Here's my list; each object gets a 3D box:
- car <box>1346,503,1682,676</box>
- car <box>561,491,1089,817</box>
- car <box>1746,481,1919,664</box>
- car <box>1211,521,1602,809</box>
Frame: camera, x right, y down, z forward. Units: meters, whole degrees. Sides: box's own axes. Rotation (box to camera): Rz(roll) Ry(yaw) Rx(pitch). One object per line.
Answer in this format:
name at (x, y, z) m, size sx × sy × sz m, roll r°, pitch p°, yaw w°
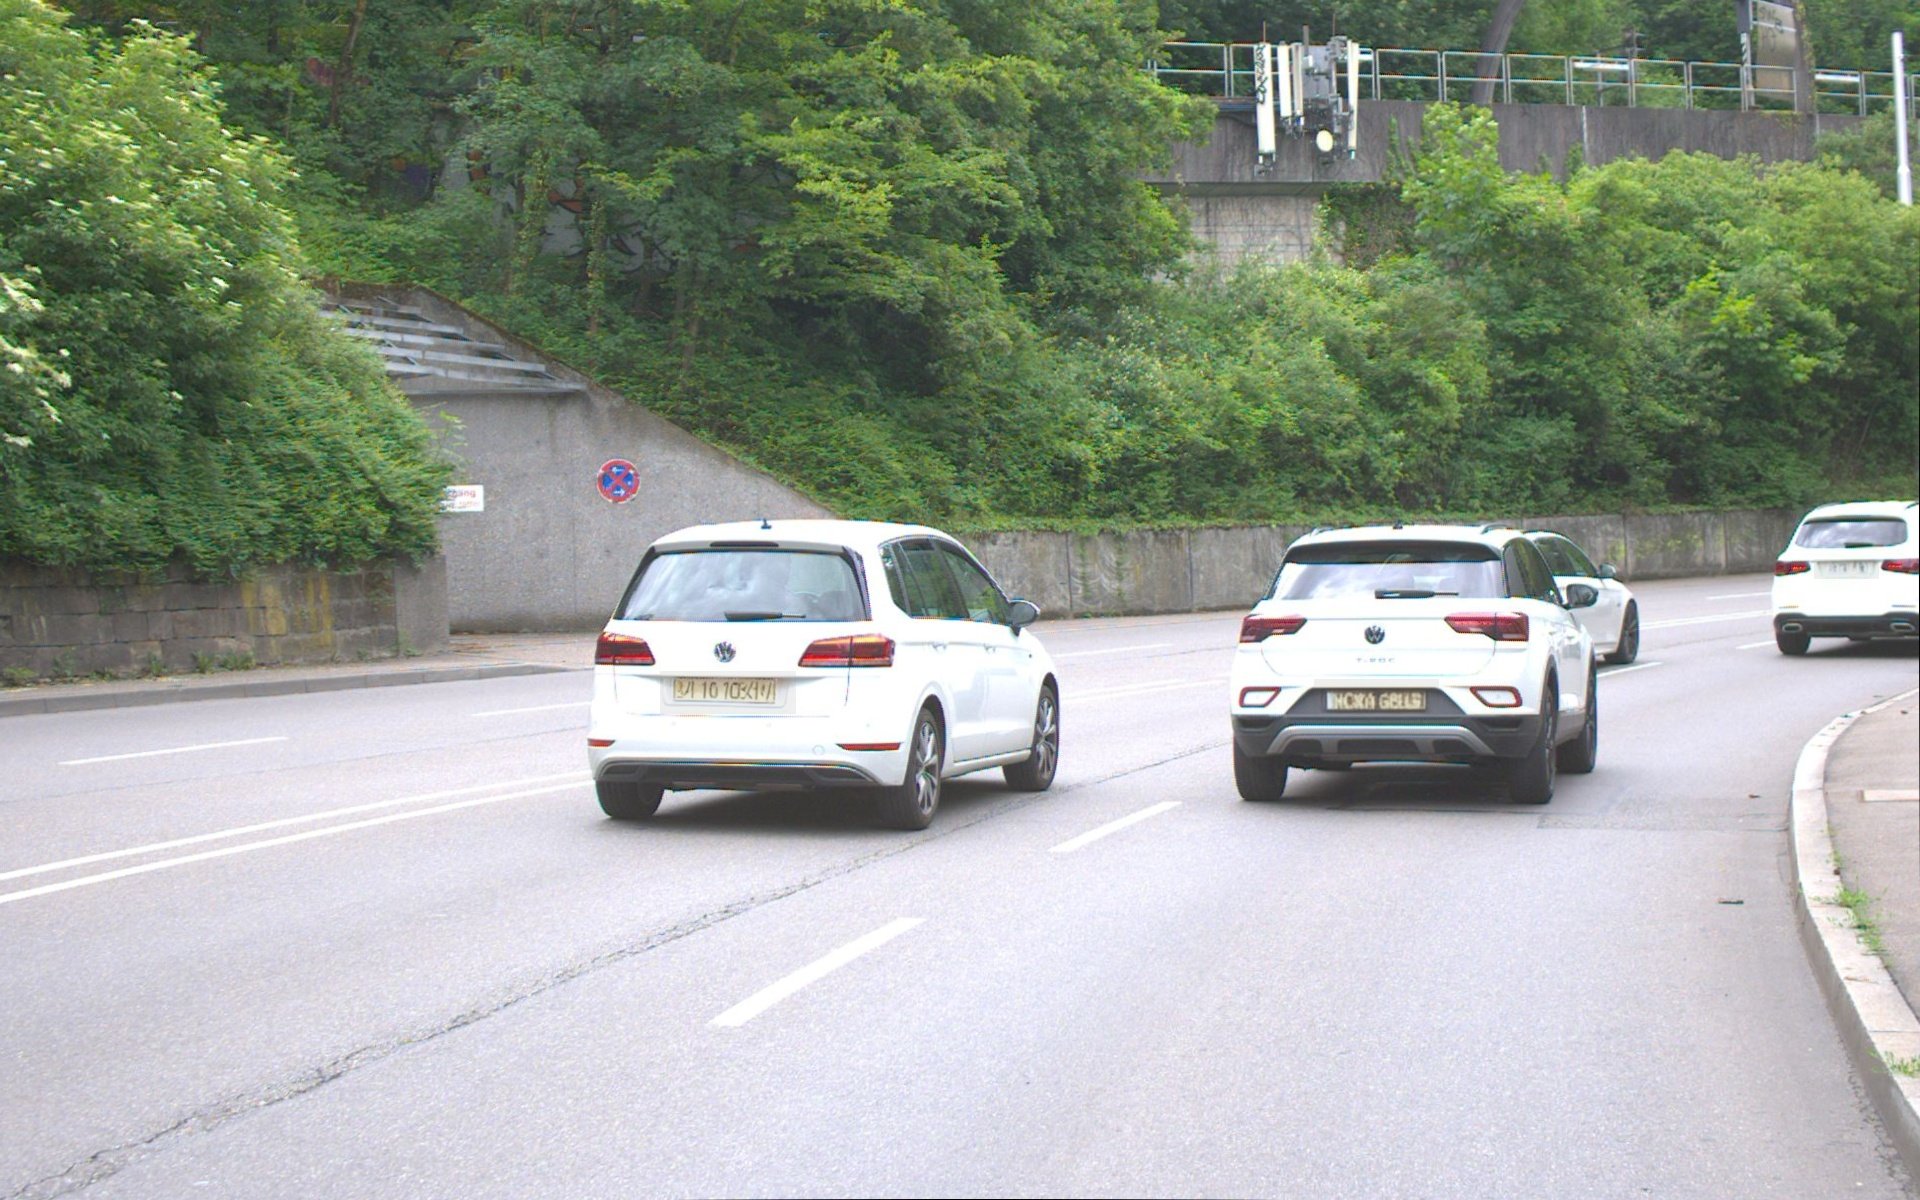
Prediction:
car at (5.758, -0.166, 35.228) m, size 1.997 × 1.552 × 4.674 m, roll 4°, pitch 3°, yaw 27°
car at (-0.600, 0.270, 18.903) m, size 1.721 × 1.549 × 4.272 m, roll 1°, pitch 0°, yaw 14°
car at (10.257, -0.249, 37.950) m, size 1.997 × 1.837 × 4.143 m, roll 2°, pitch -1°, yaw 28°
car at (2.752, 0.339, 20.440) m, size 1.815 × 1.534 × 4.006 m, roll 0°, pitch 0°, yaw 15°
